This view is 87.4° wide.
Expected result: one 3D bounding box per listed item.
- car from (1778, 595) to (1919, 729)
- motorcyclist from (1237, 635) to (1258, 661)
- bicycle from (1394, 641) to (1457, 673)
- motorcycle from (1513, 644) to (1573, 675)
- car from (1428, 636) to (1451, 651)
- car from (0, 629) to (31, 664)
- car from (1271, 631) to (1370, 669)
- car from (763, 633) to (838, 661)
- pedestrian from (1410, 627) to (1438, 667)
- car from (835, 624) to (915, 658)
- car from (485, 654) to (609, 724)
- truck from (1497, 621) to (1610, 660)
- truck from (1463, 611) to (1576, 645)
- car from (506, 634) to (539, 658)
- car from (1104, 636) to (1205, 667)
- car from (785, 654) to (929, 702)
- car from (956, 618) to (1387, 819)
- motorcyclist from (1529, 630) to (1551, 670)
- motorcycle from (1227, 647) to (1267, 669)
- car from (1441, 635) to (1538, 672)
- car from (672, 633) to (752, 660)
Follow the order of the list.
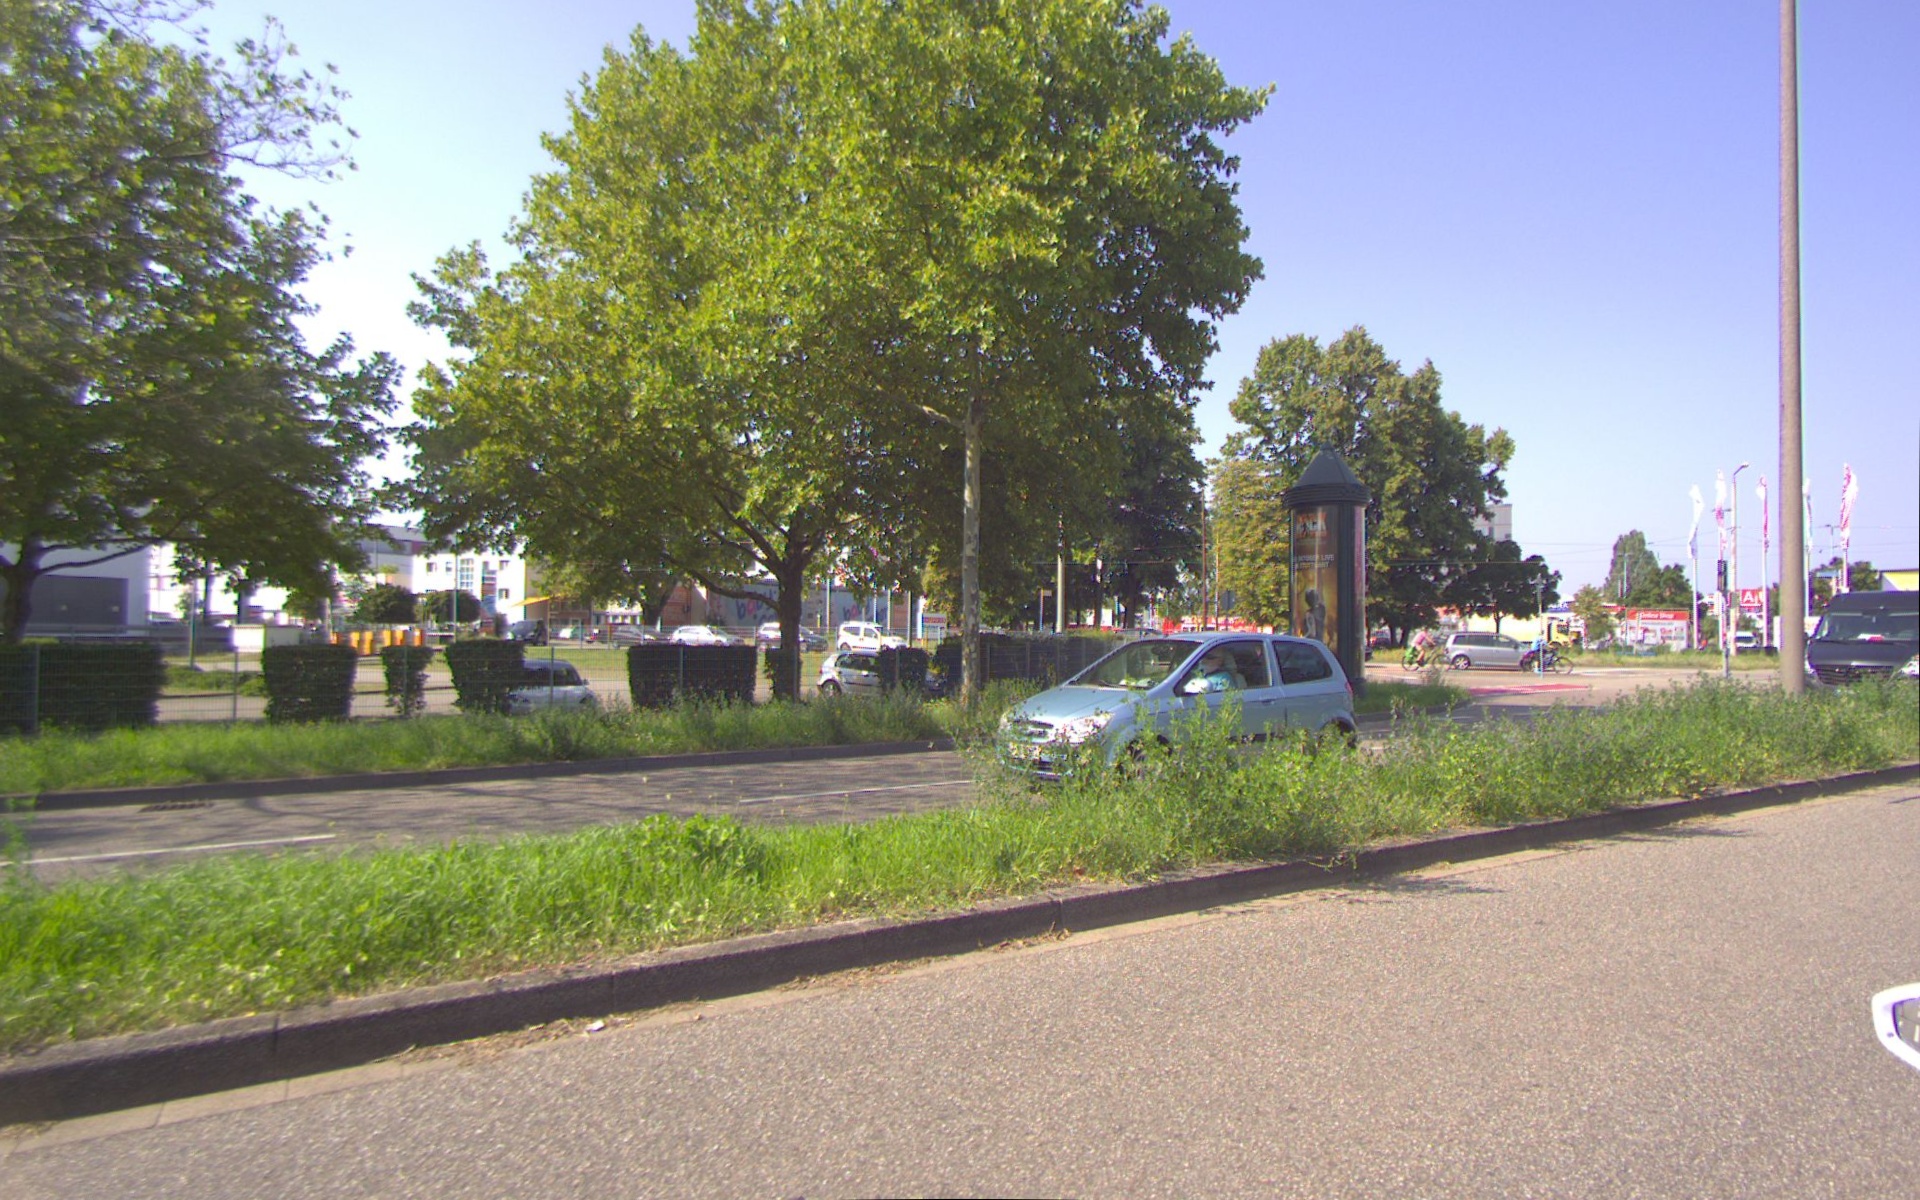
[{"bbox_3d":[19.167,1.194,20.332,6.210,2.363,2.101,2,-1,-31],"label":"car"},{"bbox_3d":[13.226,2.207,46.248,0.815,1.194,0.691,1,-1,25],"label":"motorcyclist"},{"bbox_3d":[19.376,2.372,41.861,2.316,1.252,0.873,1,-1,24],"label":"bicycle"},{"bbox_3d":[23.329,2.362,40.233,2.037,1.151,0.677,0,-2,25],"label":"motorcycle"},{"bbox_3d":[39.155,3.494,81.939,1.581,1.150,3.412,0,-1,28],"label":"car"},{"bbox_3d":[-41.881,1.979,42.748,1.356,1.455,3.123,1,-1,26],"label":"car"},{"bbox_3d":[16.684,2.268,46.490,4.228,1.600,1.571,1,-1,23],"label":"car"},{"bbox_3d":[-9.188,2.696,57.828,3.924,1.565,1.839,-1,-2,25],"label":"car"},{"bbox_3d":[19.369,1.949,41.927,1.038,1.595,0.868,1,-1,24],"label":"pedestrian"},{"bbox_3d":[-4.638,2.223,54.722,3.923,1.701,1.869,1,-1,23],"label":"car"},{"bbox_3d":[-9.117,1.867,21.995,1.801,1.327,3.964,2,-3,-33],"label":"car"},{"bbox_3d":[38.105,2.548,64.660,2.083,2.360,5.947,2,-1,-32],"label":"truck"},{"bbox_3d":[51.941,2.652,93.526,8.843,2.996,3.513,-1,-2,24],"label":"truck"},{"bbox_3d":[-29.383,3.071,67.404,1.816,1.565,3.973,1,-2,-27],"label":"car"},{"bbox_3d":[9.531,2.511,49.370,4.656,1.462,1.571,-1,-2,24],"label":"car"},{"bbox_3d":[-3.028,2.261,29.556,3.923,1.272,1.590,-1,-2,23],"label":"car"},{"bbox_3d":[2.115,1.014,9.784,3.953,1.595,1.765,2,-1,-30],"label":"car"},{"bbox_3d":[23.250,1.989,40.268,0.671,1.593,0.683,1,-1,24],"label":"motorcyclist"},{"bbox_3d":[13.210,2.656,46.239,1.688,0.957,0.711,1,-1,25],"label":"motorcycle"},{"bbox_3d":[22.944,2.291,43.670,3.632,1.462,1.466,1,-1,24],"label":"car"},{"bbox_3d":[-14.926,2.782,60.462,4.503,1.565,1.869,-1,-2,25],"label":"car"}]
